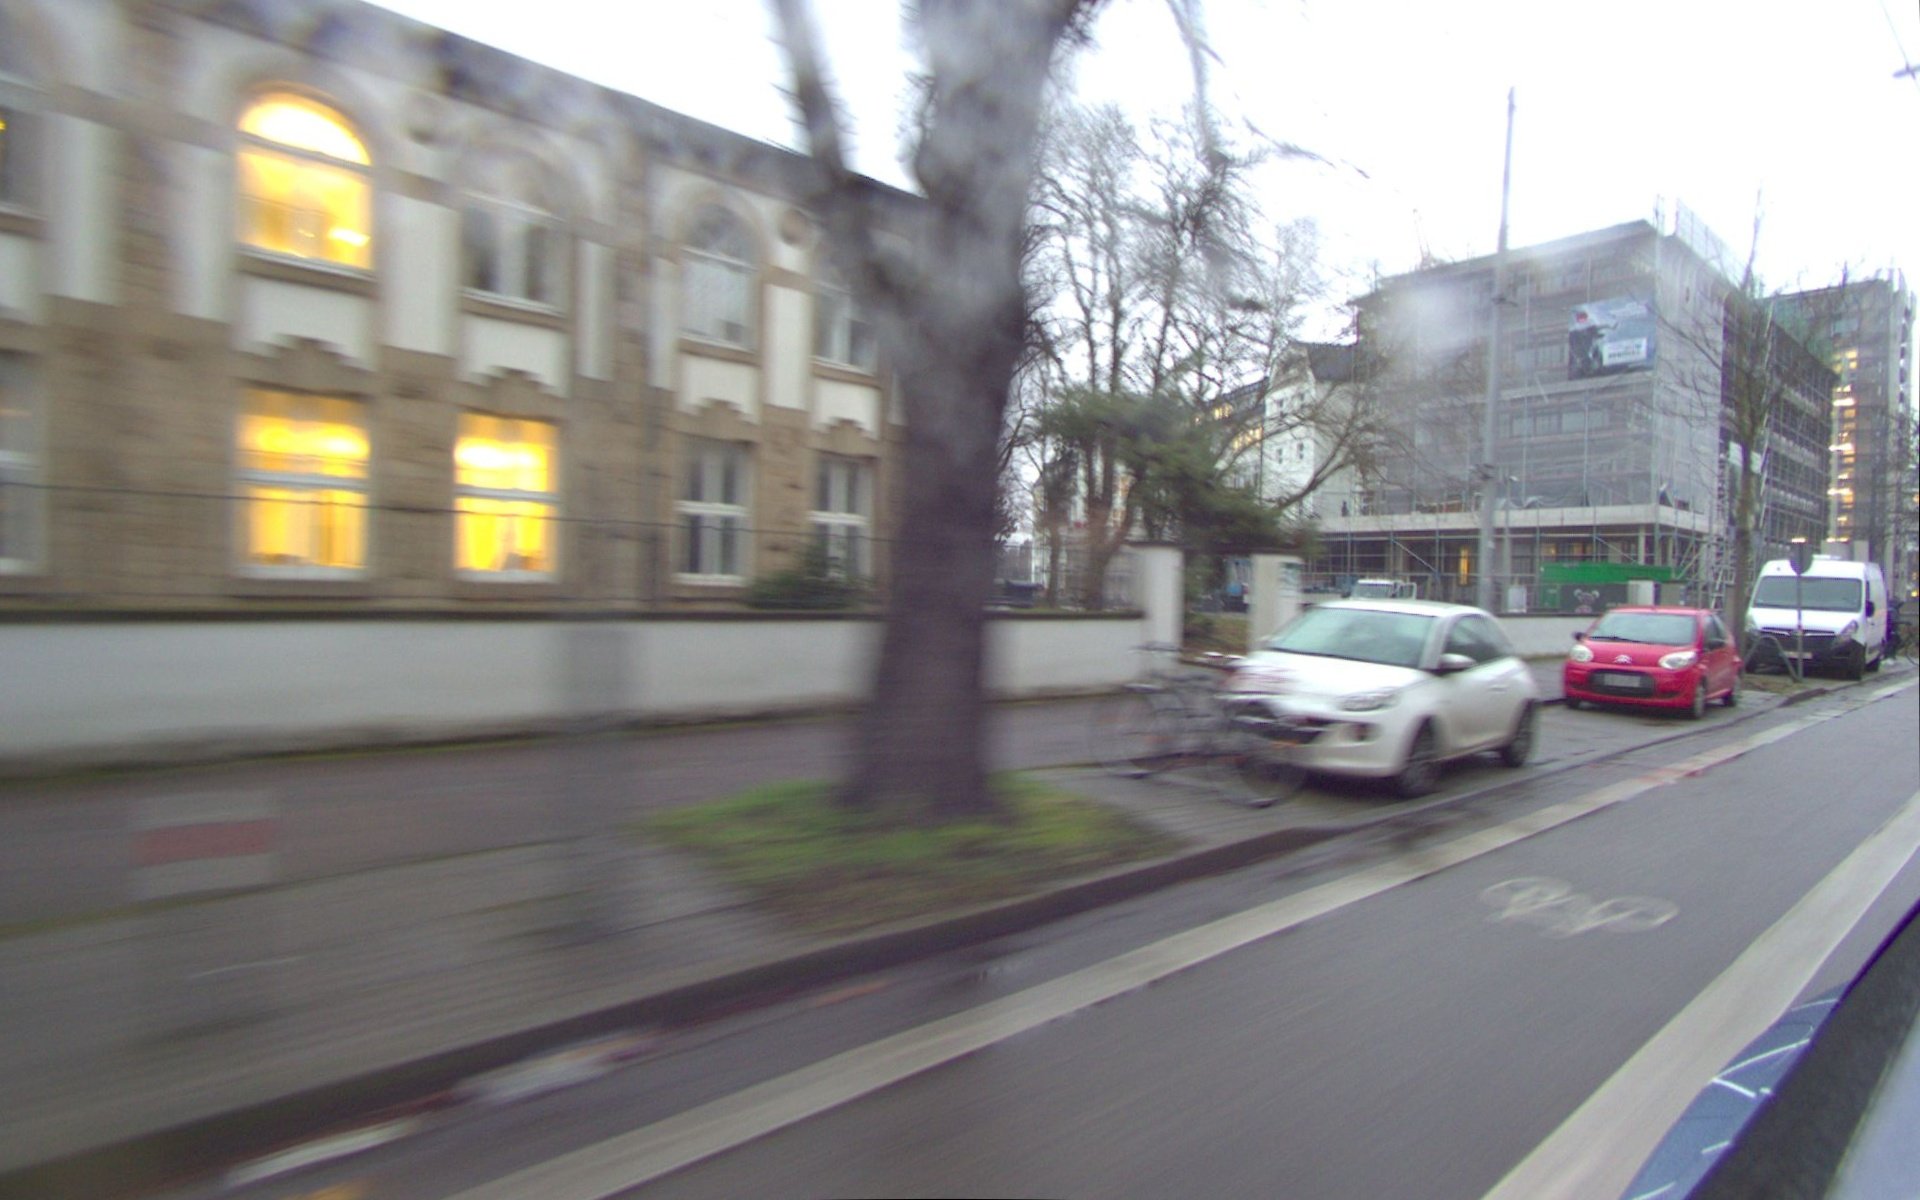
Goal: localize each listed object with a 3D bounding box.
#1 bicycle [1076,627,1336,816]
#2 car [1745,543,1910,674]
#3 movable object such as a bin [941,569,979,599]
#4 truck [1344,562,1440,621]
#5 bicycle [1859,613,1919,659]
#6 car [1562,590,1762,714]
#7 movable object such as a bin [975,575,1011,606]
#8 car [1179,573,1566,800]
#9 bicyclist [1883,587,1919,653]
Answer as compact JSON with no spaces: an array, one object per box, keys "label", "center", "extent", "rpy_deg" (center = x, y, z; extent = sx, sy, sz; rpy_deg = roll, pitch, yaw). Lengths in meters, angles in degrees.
[{"label":"bicycle","center":[1.691,0.782,7.192],"extent":[0.651,1.084,1.717],"rpy_deg":[1,1,-40]},{"label":"car","center":[19.029,0.157,22.093],"extent":[5.346,2.518,2.127],"rpy_deg":[1,1,-43]},{"label":"movable object such as a bin","center":[-0.004,-0.709,44.682],"extent":[1.408,1.240,0.990],"rpy_deg":[2,1,-17]},{"label":"truck","center":[21.087,-0.468,49.212],"extent":[2.125,2.619,6.974],"rpy_deg":[2,2,42]},{"label":"bicycle","center":[25.460,0.971,27.172],"extent":[1.883,1.147,0.721],"rpy_deg":[2,1,36]},{"label":"car","center":[10.094,0.668,14.468],"extent":[3.512,1.542,1.645],"rpy_deg":[1,0,-43]},{"label":"movable object such as a bin","center":[1.461,-0.441,44.956],"extent":[1.280,1.330,0.990],"rpy_deg":[2,1,-17]},{"label":"car","center":[3.688,0.597,8.800],"extent":[3.574,1.539,1.694],"rpy_deg":[1,1,-42]},{"label":"bicyclist","center":[25.408,0.536,27.211],"extent":[0.767,1.710,0.697],"rpy_deg":[2,0,37]}]
